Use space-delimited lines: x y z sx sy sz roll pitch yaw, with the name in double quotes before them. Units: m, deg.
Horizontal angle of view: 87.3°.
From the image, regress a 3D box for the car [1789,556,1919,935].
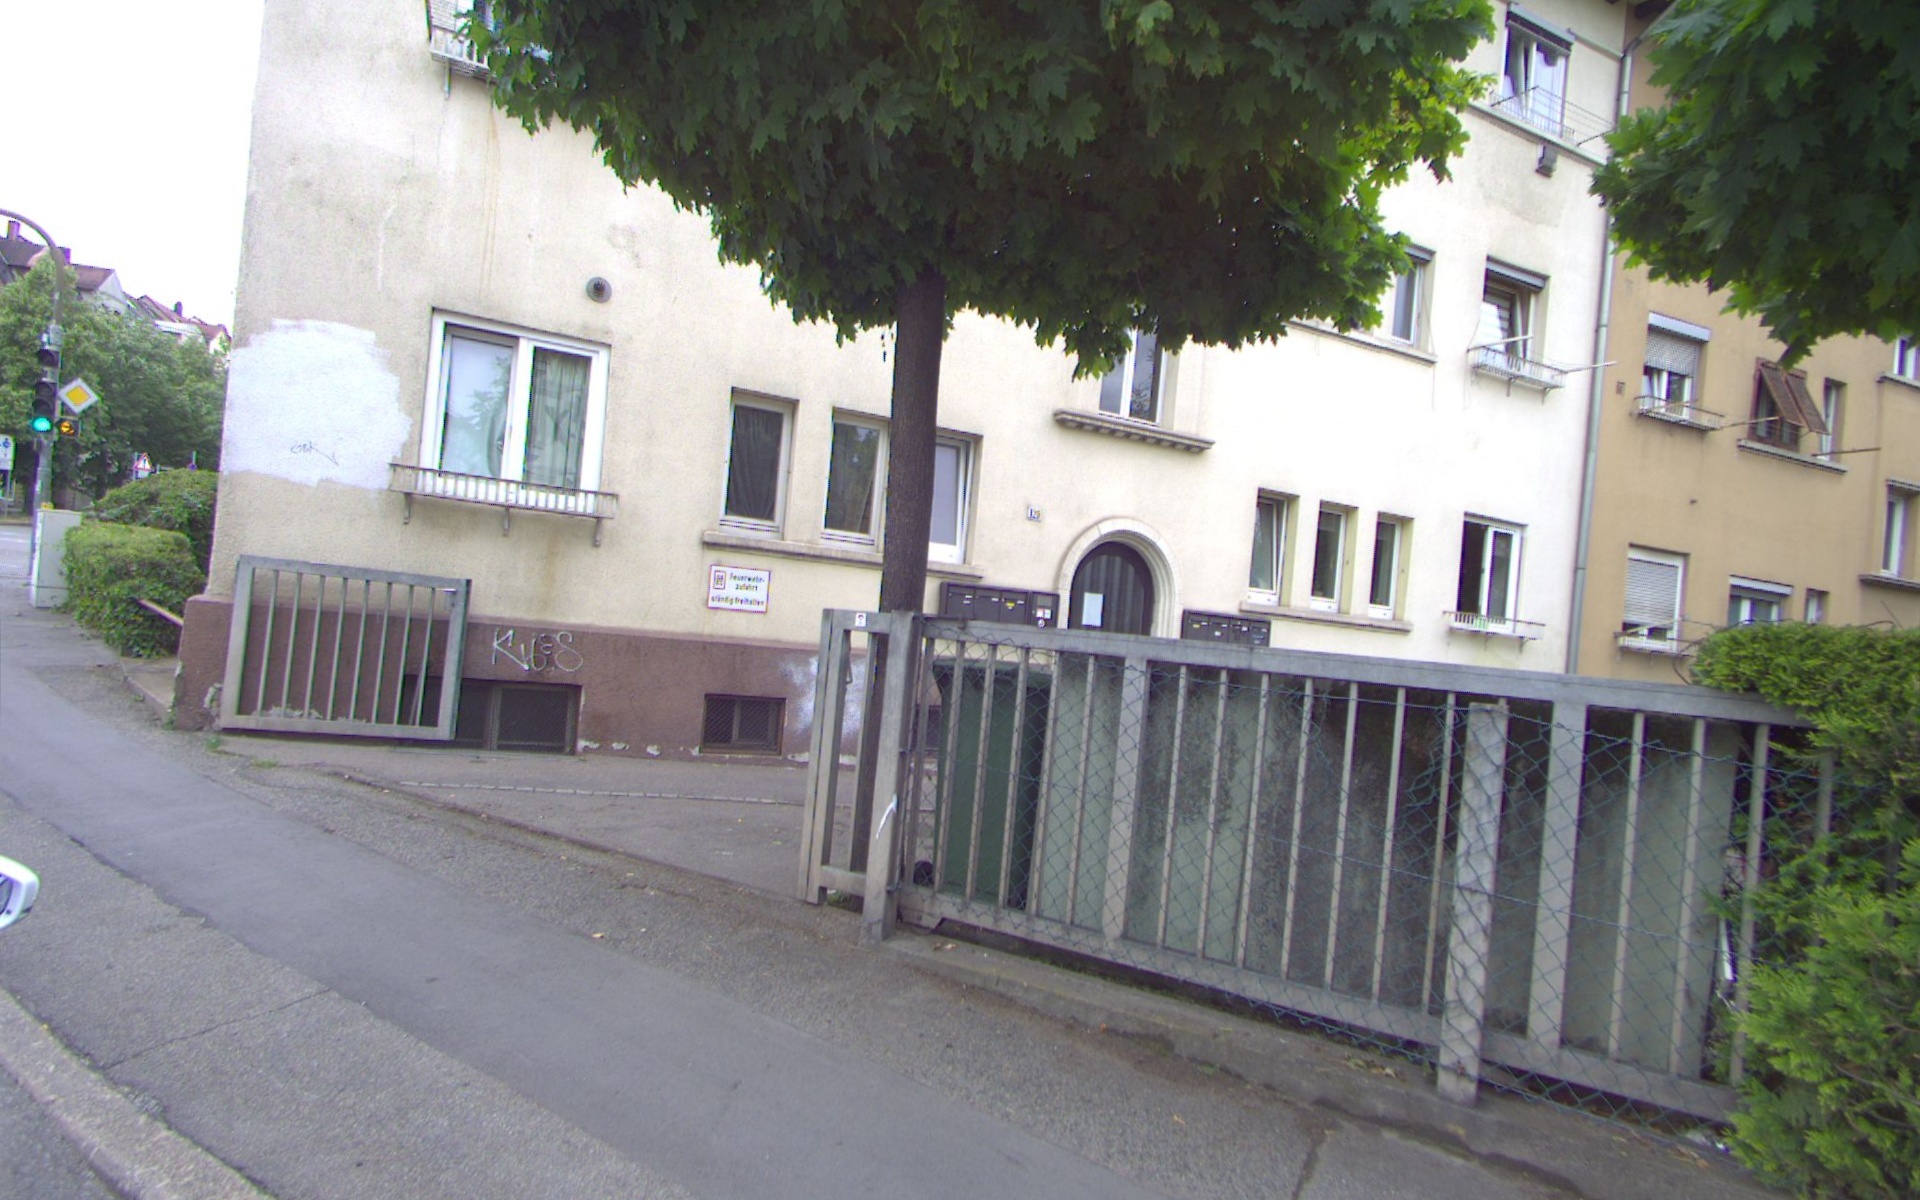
"car" 5.550 0.781 3.780 3.381 1.477 1.700 6 -2 30
